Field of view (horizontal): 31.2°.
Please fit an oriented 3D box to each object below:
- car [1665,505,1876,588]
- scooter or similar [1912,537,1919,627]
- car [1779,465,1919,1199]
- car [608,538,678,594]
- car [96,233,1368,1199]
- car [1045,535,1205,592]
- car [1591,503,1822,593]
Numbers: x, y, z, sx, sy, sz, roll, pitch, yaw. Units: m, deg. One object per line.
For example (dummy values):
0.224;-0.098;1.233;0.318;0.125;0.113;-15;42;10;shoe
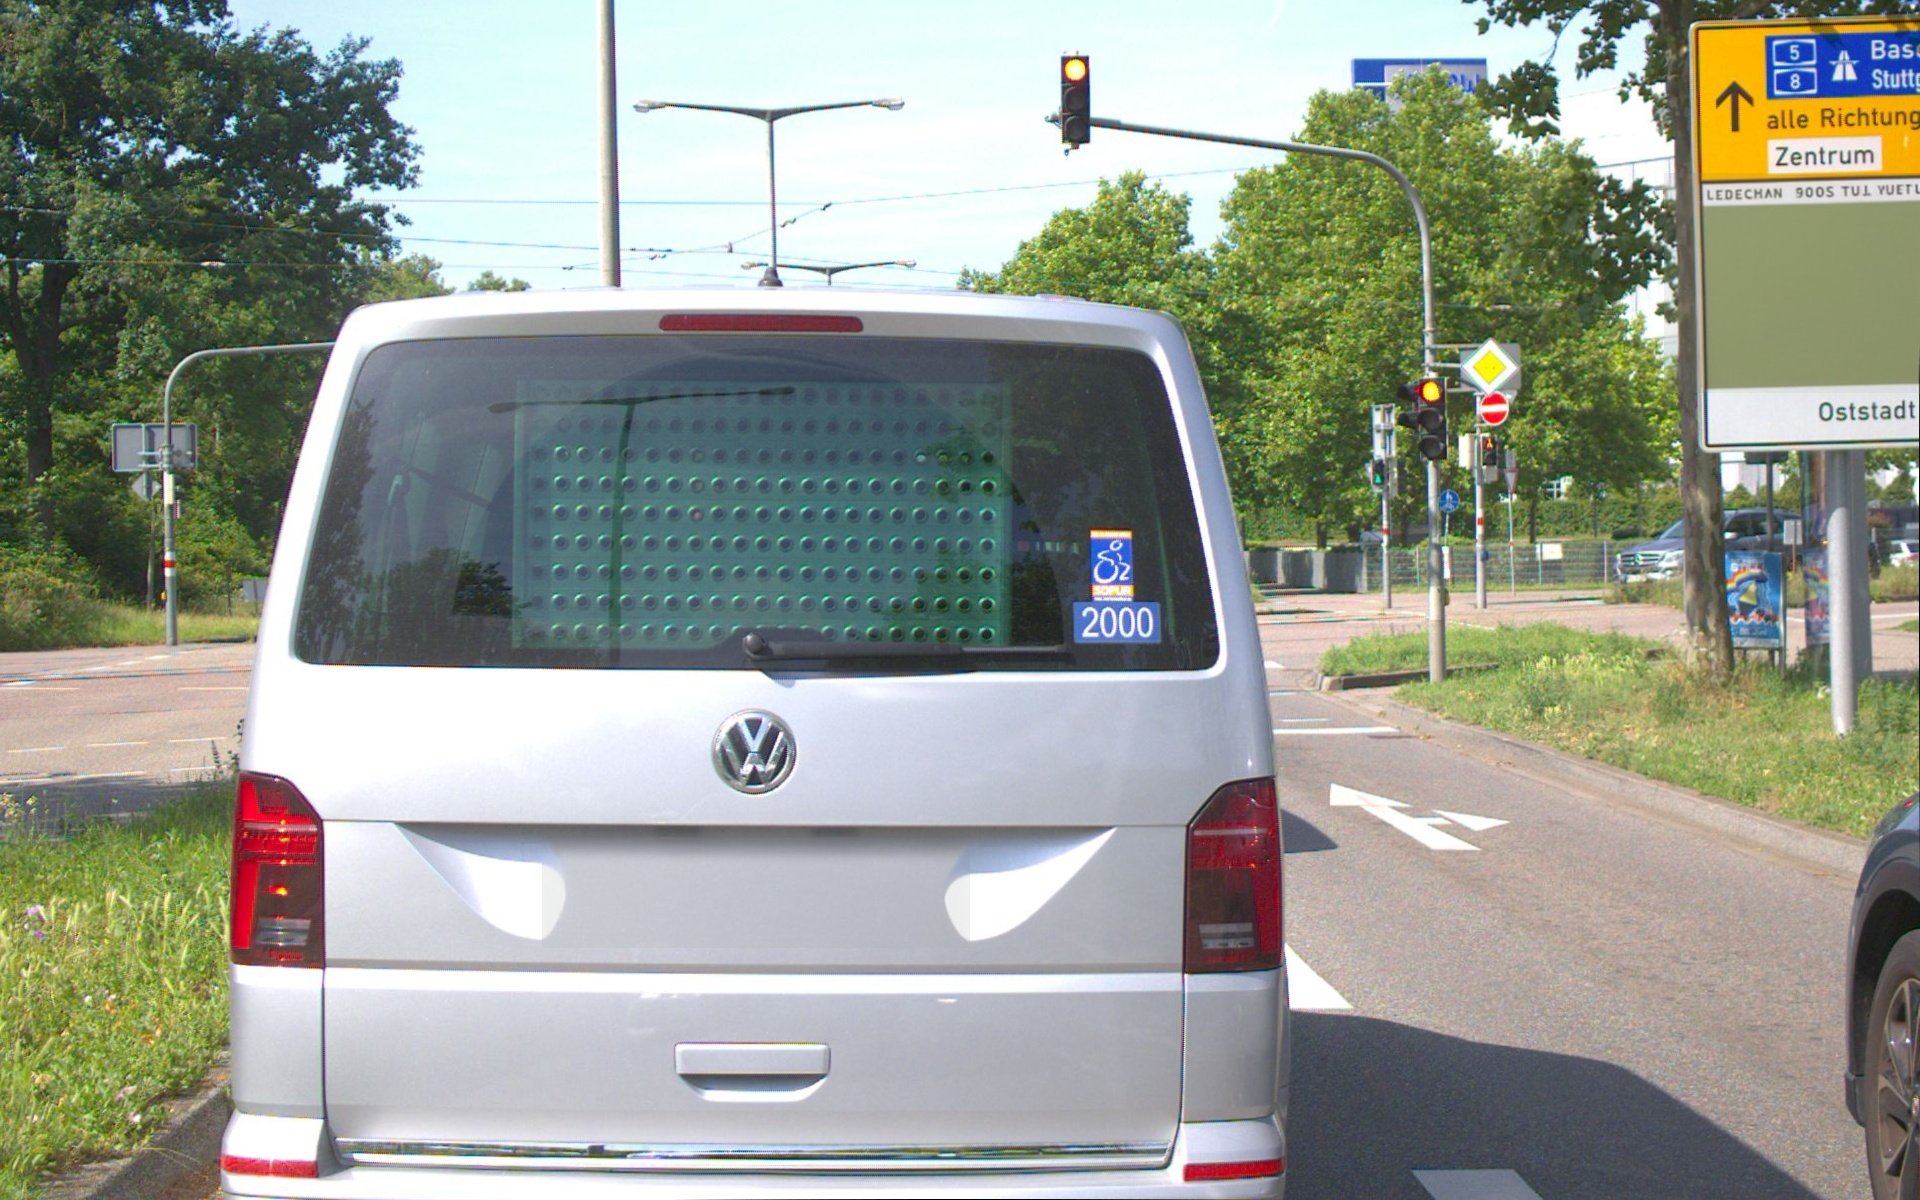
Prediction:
17.613;-1.161;74.646;4.613;1.683;1.915;-2;1;-37;car
12.130;-0.221;42.399;0.424;1.122;1.124;-1;1;-1;scooter or similar
2.785;0.593;5.478;1.766;1.653;4.496;1;1;-1;car
-9.332;-1.017;101.539;1.849;1.556;4.001;-1;1;-3;car
-0.374;0.388;7.802;1.941;1.965;5.022;-1;1;-1;car
4.393;-0.969;92.079;1.776;1.439;4.626;-2;1;-36;car
14.951;-1.047;68.742;4.613;1.683;1.915;-2;1;-37;car
